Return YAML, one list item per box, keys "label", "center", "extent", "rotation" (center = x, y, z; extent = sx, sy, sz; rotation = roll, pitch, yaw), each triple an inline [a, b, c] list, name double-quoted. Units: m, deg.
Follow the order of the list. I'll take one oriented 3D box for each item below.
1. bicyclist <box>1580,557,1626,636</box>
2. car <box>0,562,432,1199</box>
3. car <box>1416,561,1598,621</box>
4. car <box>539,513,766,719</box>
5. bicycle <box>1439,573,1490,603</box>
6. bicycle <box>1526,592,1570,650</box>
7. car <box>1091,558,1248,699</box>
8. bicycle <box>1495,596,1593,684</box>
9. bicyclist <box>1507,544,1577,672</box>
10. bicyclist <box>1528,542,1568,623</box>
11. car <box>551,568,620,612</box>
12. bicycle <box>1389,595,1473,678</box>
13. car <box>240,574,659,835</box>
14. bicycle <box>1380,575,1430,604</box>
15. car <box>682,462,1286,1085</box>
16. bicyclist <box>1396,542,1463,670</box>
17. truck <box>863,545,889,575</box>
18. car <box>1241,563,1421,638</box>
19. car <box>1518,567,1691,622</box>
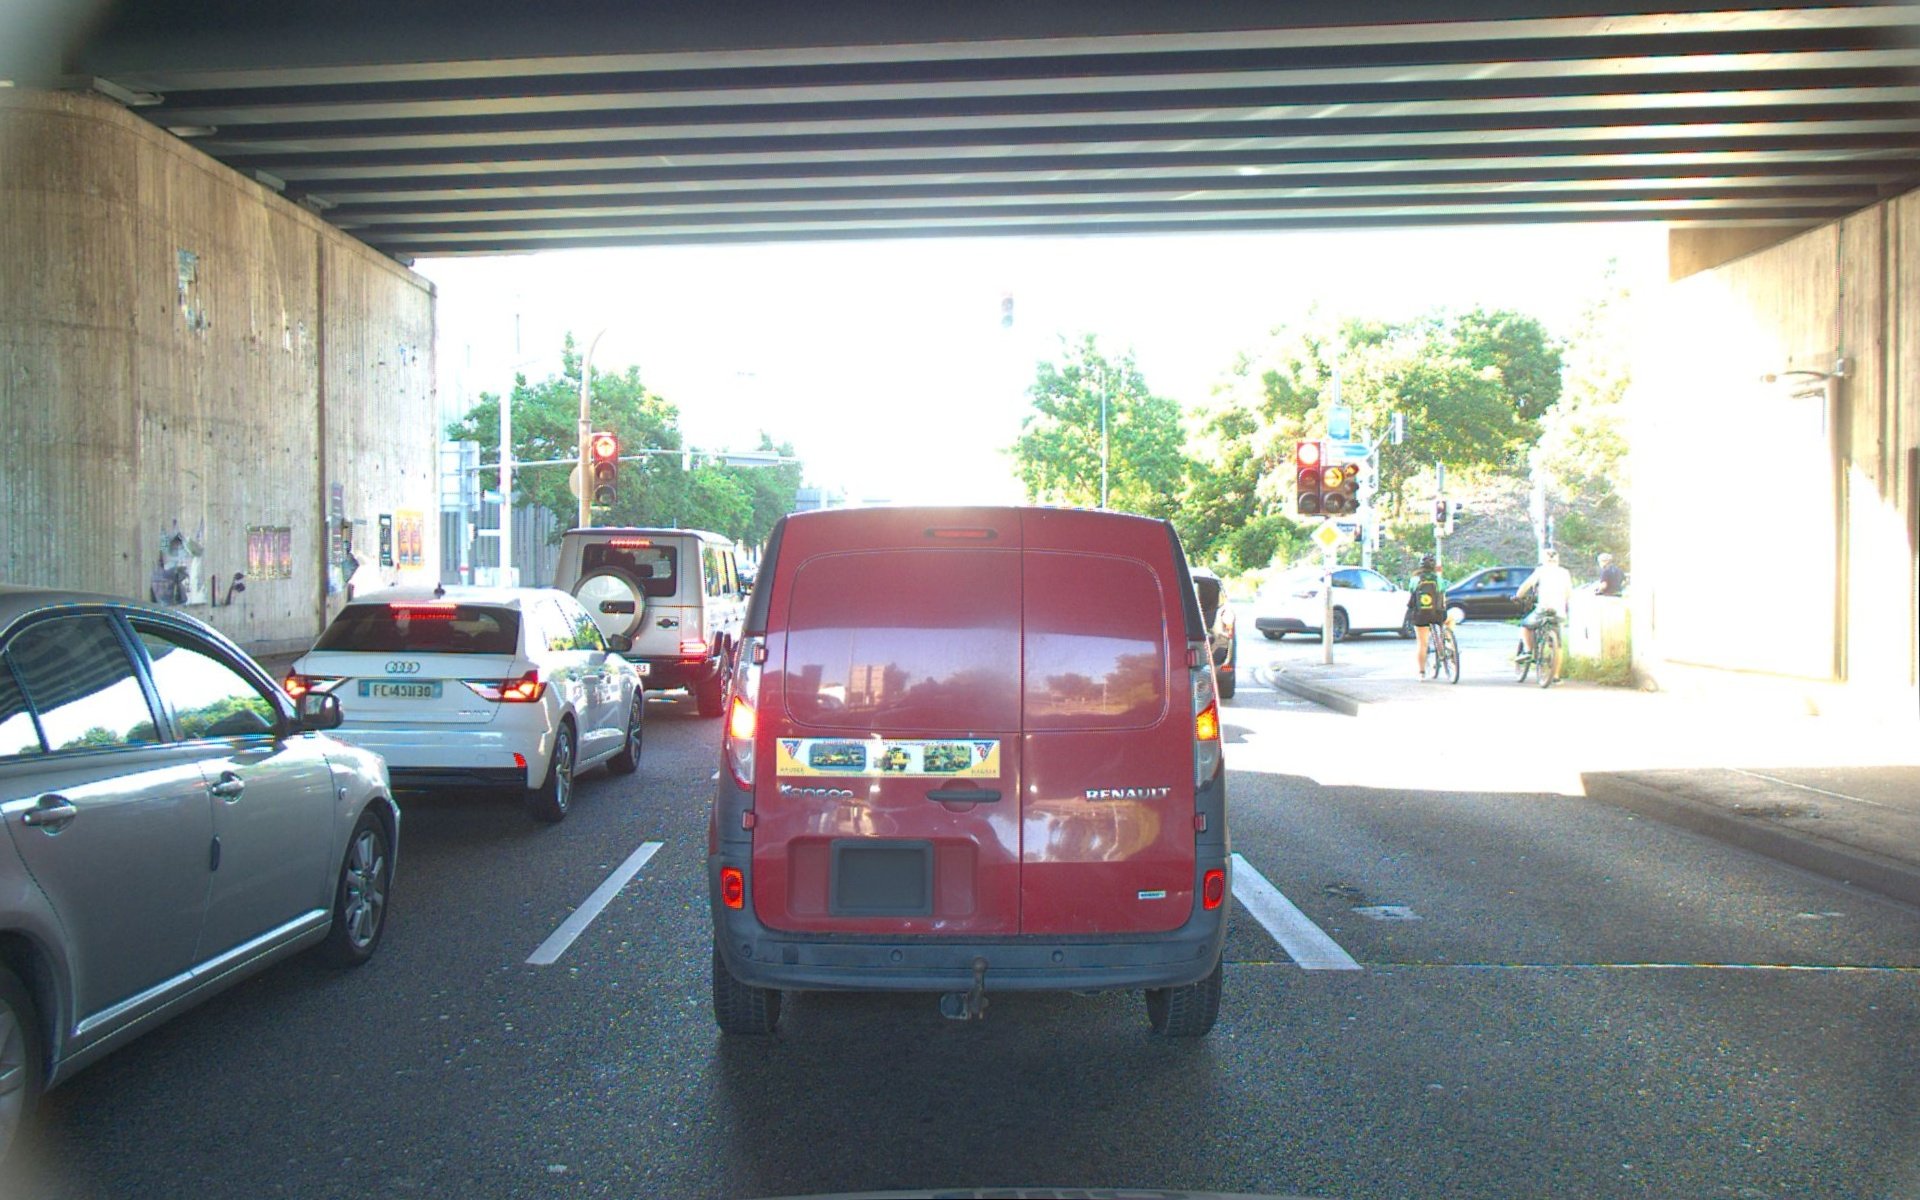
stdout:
- label: "bicyclist"
  center: [12.441, -0.079, 32.014]
  extent: [0.636, 1.506, 0.618]
  rotation: [0, 1, -2]
- label: "car"
  center: [-3.020, 0.662, 4.849]
  extent: [1.698, 1.506, 4.317]
  rotation: [0, 0, -2]
- label: "car"
  center: [14.988, -0.238, 45.530]
  extent: [4.452, 1.540, 1.829]
  rotation: [1, 0, 6]
- label: "car"
  center: [-3.346, 0.170, 18.851]
  extent: [1.764, 2.023, 4.588]
  rotation: [1, 0, -1]
- label: "bicycle"
  center: [18.349, -0.439, 60.215]
  extent: [1.707, 1.041, 0.594]
  rotation: [1, 0, 10]
- label: "bicycle"
  center: [10.942, 0.385, 30.801]
  extent: [0.657, 1.041, 2.056]
  rotation: [1, 0, 17]
- label: "car"
  center: [2.741, 0.348, 22.389]
  extent: [1.683, 1.736, 3.982]
  rotation: [0, 0, 1]
- label: "bicycle"
  center: [7.317, 0.486, 20.785]
  extent: [0.579, 1.041, 1.750]
  rotation: [1, 0, -1]
- label: "bicyclist"
  center: [7.311, 0.099, 20.791]
  extent: [0.580, 1.575, 0.769]
  rotation: [1, -1, -1]
- label: "bicyclist"
  center: [10.962, -0.322, 30.844]
  extent: [0.651, 1.500, 0.751]
  rotation: [1, -1, 17]
- label: "car"
  center: [-16.121, -0.445, 71.384]
  extent: [1.787, 1.768, 4.630]
  rotation: [-2, 1, 1]
- label: "bicycle"
  center: [6.199, 0.472, 21.848]
  extent: [0.579, 1.041, 1.750]
  rotation: [1, 0, -1]
- label: "car"
  center: [-3.265, 0.574, 11.347]
  extent: [1.777, 1.463, 3.730]
  rotation: [1, 1, -1]
- label: "bicycle"
  center: [16.466, -0.387, 61.170]
  extent: [1.707, 1.041, 0.594]
  rotation: [1, 0, 8]
- label: "car"
  center: [0.048, 0.526, 6.915]
  extent: [1.768, 1.826, 3.999]
  rotation: [1, 0, -1]
- label: "bicyclist"
  center: [6.190, 0.080, 21.846]
  extent: [0.580, 1.642, 0.942]
  rotation: [1, 0, -1]
- label: "truck"
  center: [-9.208, -4.341, 181.116]
  extent: [2.360, 3.079, 6.657]
  rotation: [-2, 1, 0]
- label: "car"
  center: [8.279, 0.010, 36.779]
  extent: [4.156, 1.570, 1.858]
  rotation: [0, 0, -41]
- label: "car"
  center: [18.971, -0.155, 48.834]
  extent: [4.451, 1.540, 1.829]
  rotation: [1, 0, 6]
